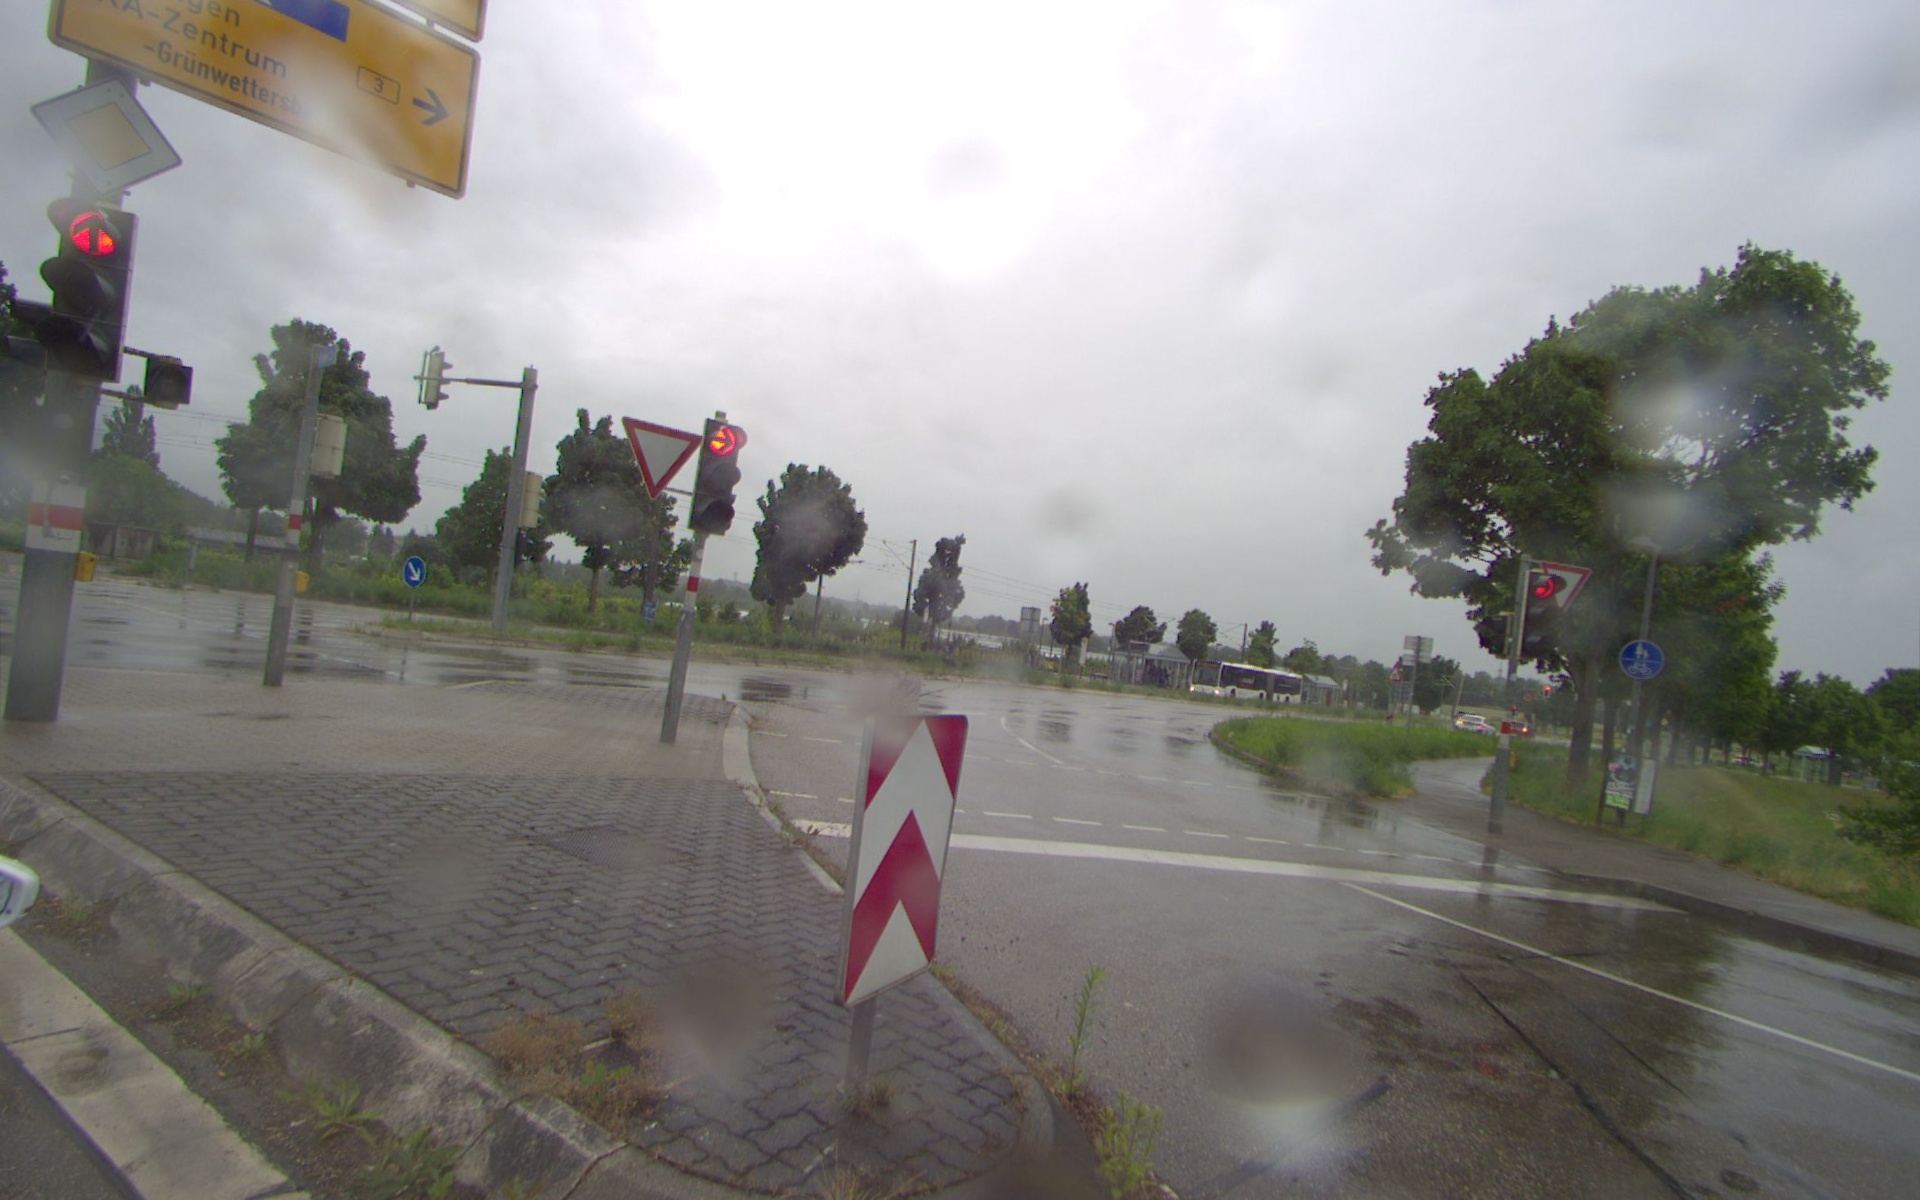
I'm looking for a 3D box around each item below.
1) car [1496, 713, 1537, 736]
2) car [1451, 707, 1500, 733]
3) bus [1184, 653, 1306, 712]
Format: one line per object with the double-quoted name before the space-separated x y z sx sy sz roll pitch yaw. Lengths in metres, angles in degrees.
"car" 41.790 9.355 75.494 1.853 1.370 4.036 6 -2 40
"car" 33.386 7.752 65.099 1.853 1.370 4.036 6 -2 40
"bus" 24.279 7.090 84.251 2.715 3.828 18.378 7 -2 38
